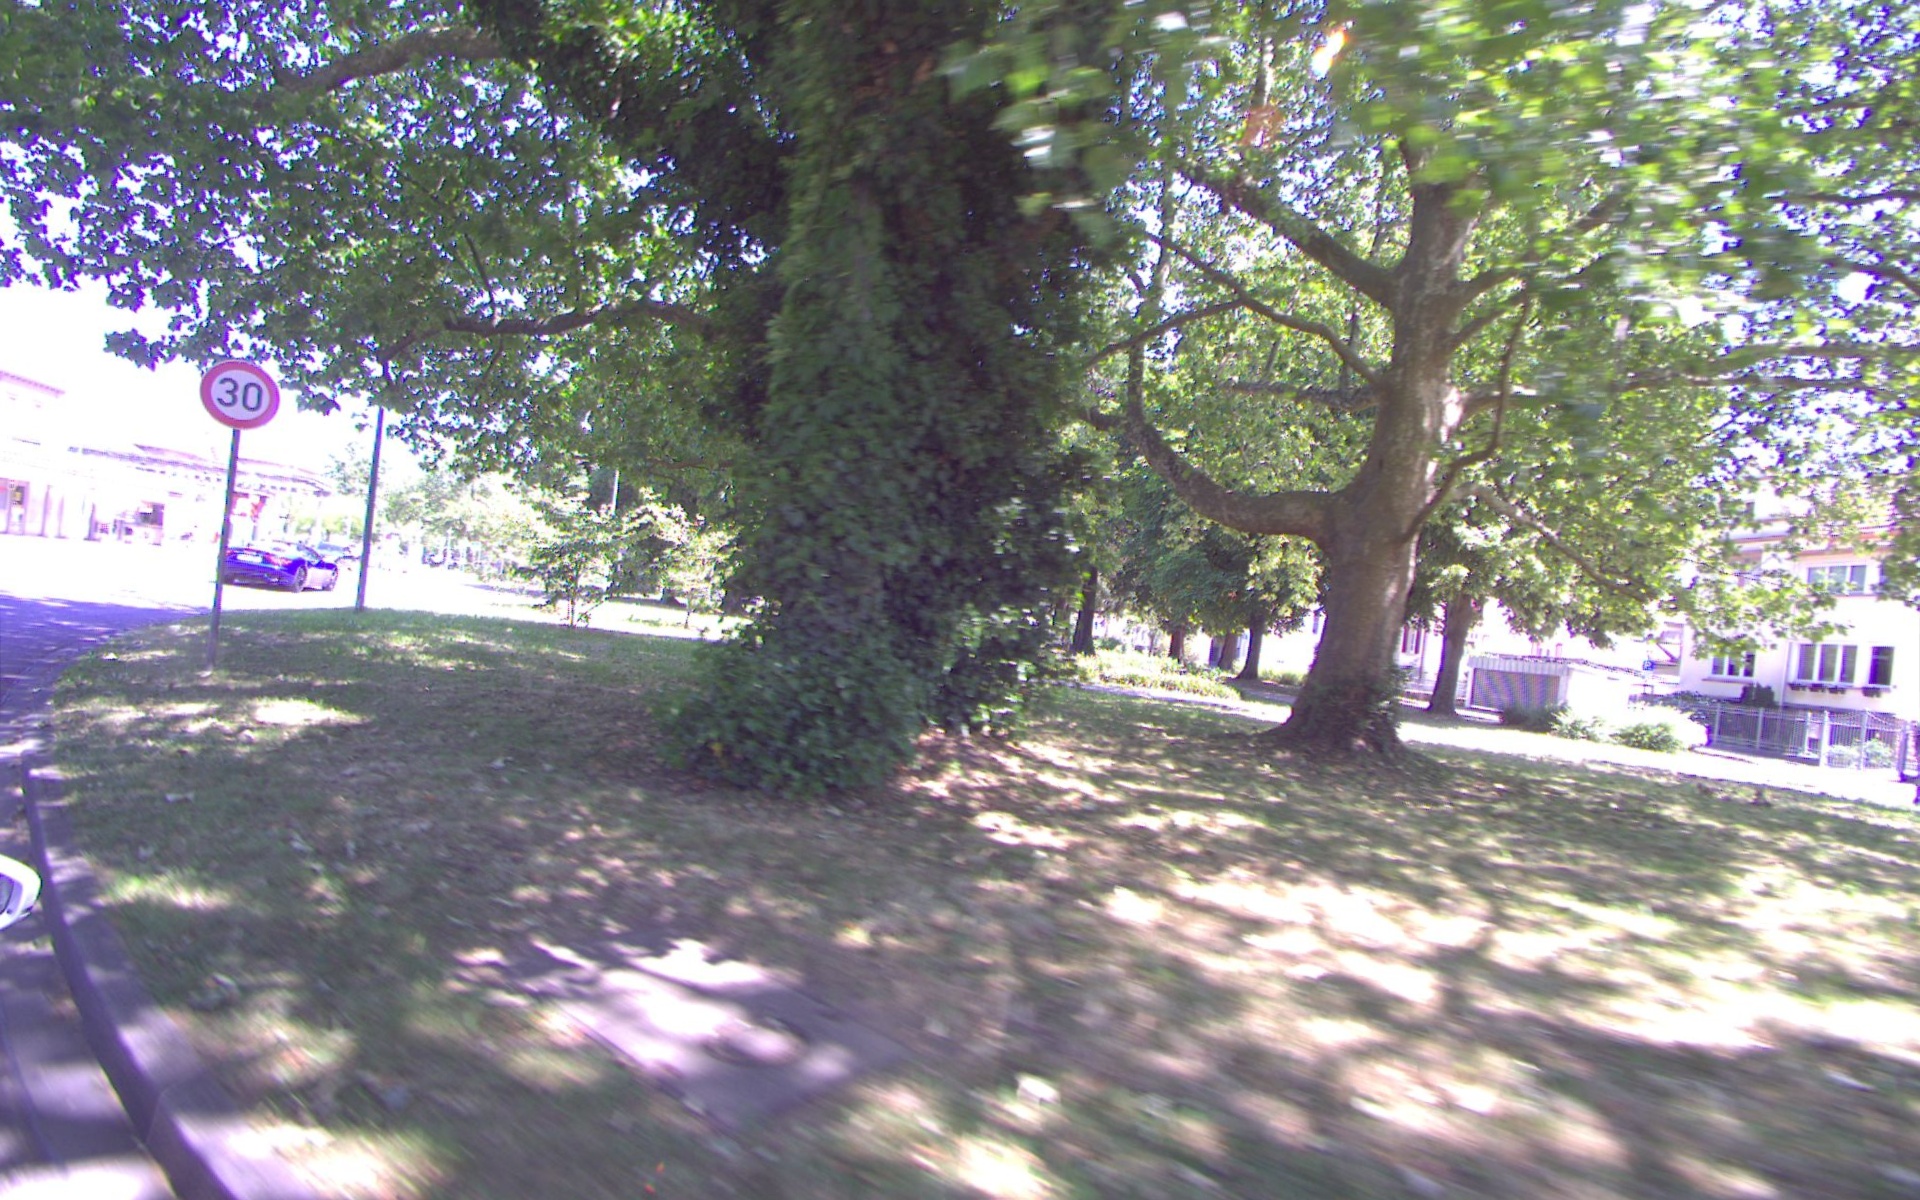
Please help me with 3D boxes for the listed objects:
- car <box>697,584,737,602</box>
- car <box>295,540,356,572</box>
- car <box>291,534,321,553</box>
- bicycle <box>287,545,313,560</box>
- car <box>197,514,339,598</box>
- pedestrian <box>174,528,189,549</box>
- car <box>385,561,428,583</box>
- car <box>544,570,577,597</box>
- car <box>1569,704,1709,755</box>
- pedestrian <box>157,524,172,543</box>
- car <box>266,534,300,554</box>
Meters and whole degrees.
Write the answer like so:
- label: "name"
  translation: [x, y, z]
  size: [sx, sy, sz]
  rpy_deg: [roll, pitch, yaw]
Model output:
- label: "car"
  translation: [-27.246, -0.797, 112.762]
  size: [4.060, 1.484, 1.992]
  rpy_deg: [7, -1, -20]
- label: "car"
  translation: [-35.621, -2.440, 56.620]
  size: [1.699, 1.496, 4.768]
  rpy_deg: [6, -1, -18]
- label: "car"
  translation: [-78.503, -6.776, 120.847]
  size: [1.972, 2.039, 3.981]
  rpy_deg: [7, 1, -20]
- label: "bicycle"
  translation: [-57.389, -4.107, 87.511]
  size: [1.786, 1.043, 0.483]
  rpy_deg: [8, -1, -41]
- label: "car"
  translation: [-18.811, -1.136, 27.573]
  size: [2.102, 1.870, 4.031]
  rpy_deg: [7, -2, -20]
- label: "pedestrian"
  translation: [-65.862, -5.205, 85.102]
  size: [0.620, 1.692, 0.656]
  rpy_deg: [5, -2, 27]
- label: "car"
  translation: [-39.411, -1.992, 71.757]
  size: [1.792, 1.463, 4.143]
  rpy_deg: [3, 1, -17]
- label: "car"
  translation: [-25.002, -1.041, 63.005]
  size: [1.700, 1.496, 3.689]
  rpy_deg: [6, -1, -22]
- label: "car"
  translation: [25.706, 4.881, 38.288]
  size: [1.641, 1.303, 4.713]
  rpy_deg: [6, -2, -7]
- label: "pedestrian"
  translation: [-44.794, -3.730, 56.639]
  size: [0.418, 0.983, 0.372]
  rpy_deg: [6, -2, -5]
- label: "car"
  translation: [-76.632, -6.360, 113.900]
  size: [1.730, 1.941, 4.757]
  rpy_deg: [6, 0, -17]
